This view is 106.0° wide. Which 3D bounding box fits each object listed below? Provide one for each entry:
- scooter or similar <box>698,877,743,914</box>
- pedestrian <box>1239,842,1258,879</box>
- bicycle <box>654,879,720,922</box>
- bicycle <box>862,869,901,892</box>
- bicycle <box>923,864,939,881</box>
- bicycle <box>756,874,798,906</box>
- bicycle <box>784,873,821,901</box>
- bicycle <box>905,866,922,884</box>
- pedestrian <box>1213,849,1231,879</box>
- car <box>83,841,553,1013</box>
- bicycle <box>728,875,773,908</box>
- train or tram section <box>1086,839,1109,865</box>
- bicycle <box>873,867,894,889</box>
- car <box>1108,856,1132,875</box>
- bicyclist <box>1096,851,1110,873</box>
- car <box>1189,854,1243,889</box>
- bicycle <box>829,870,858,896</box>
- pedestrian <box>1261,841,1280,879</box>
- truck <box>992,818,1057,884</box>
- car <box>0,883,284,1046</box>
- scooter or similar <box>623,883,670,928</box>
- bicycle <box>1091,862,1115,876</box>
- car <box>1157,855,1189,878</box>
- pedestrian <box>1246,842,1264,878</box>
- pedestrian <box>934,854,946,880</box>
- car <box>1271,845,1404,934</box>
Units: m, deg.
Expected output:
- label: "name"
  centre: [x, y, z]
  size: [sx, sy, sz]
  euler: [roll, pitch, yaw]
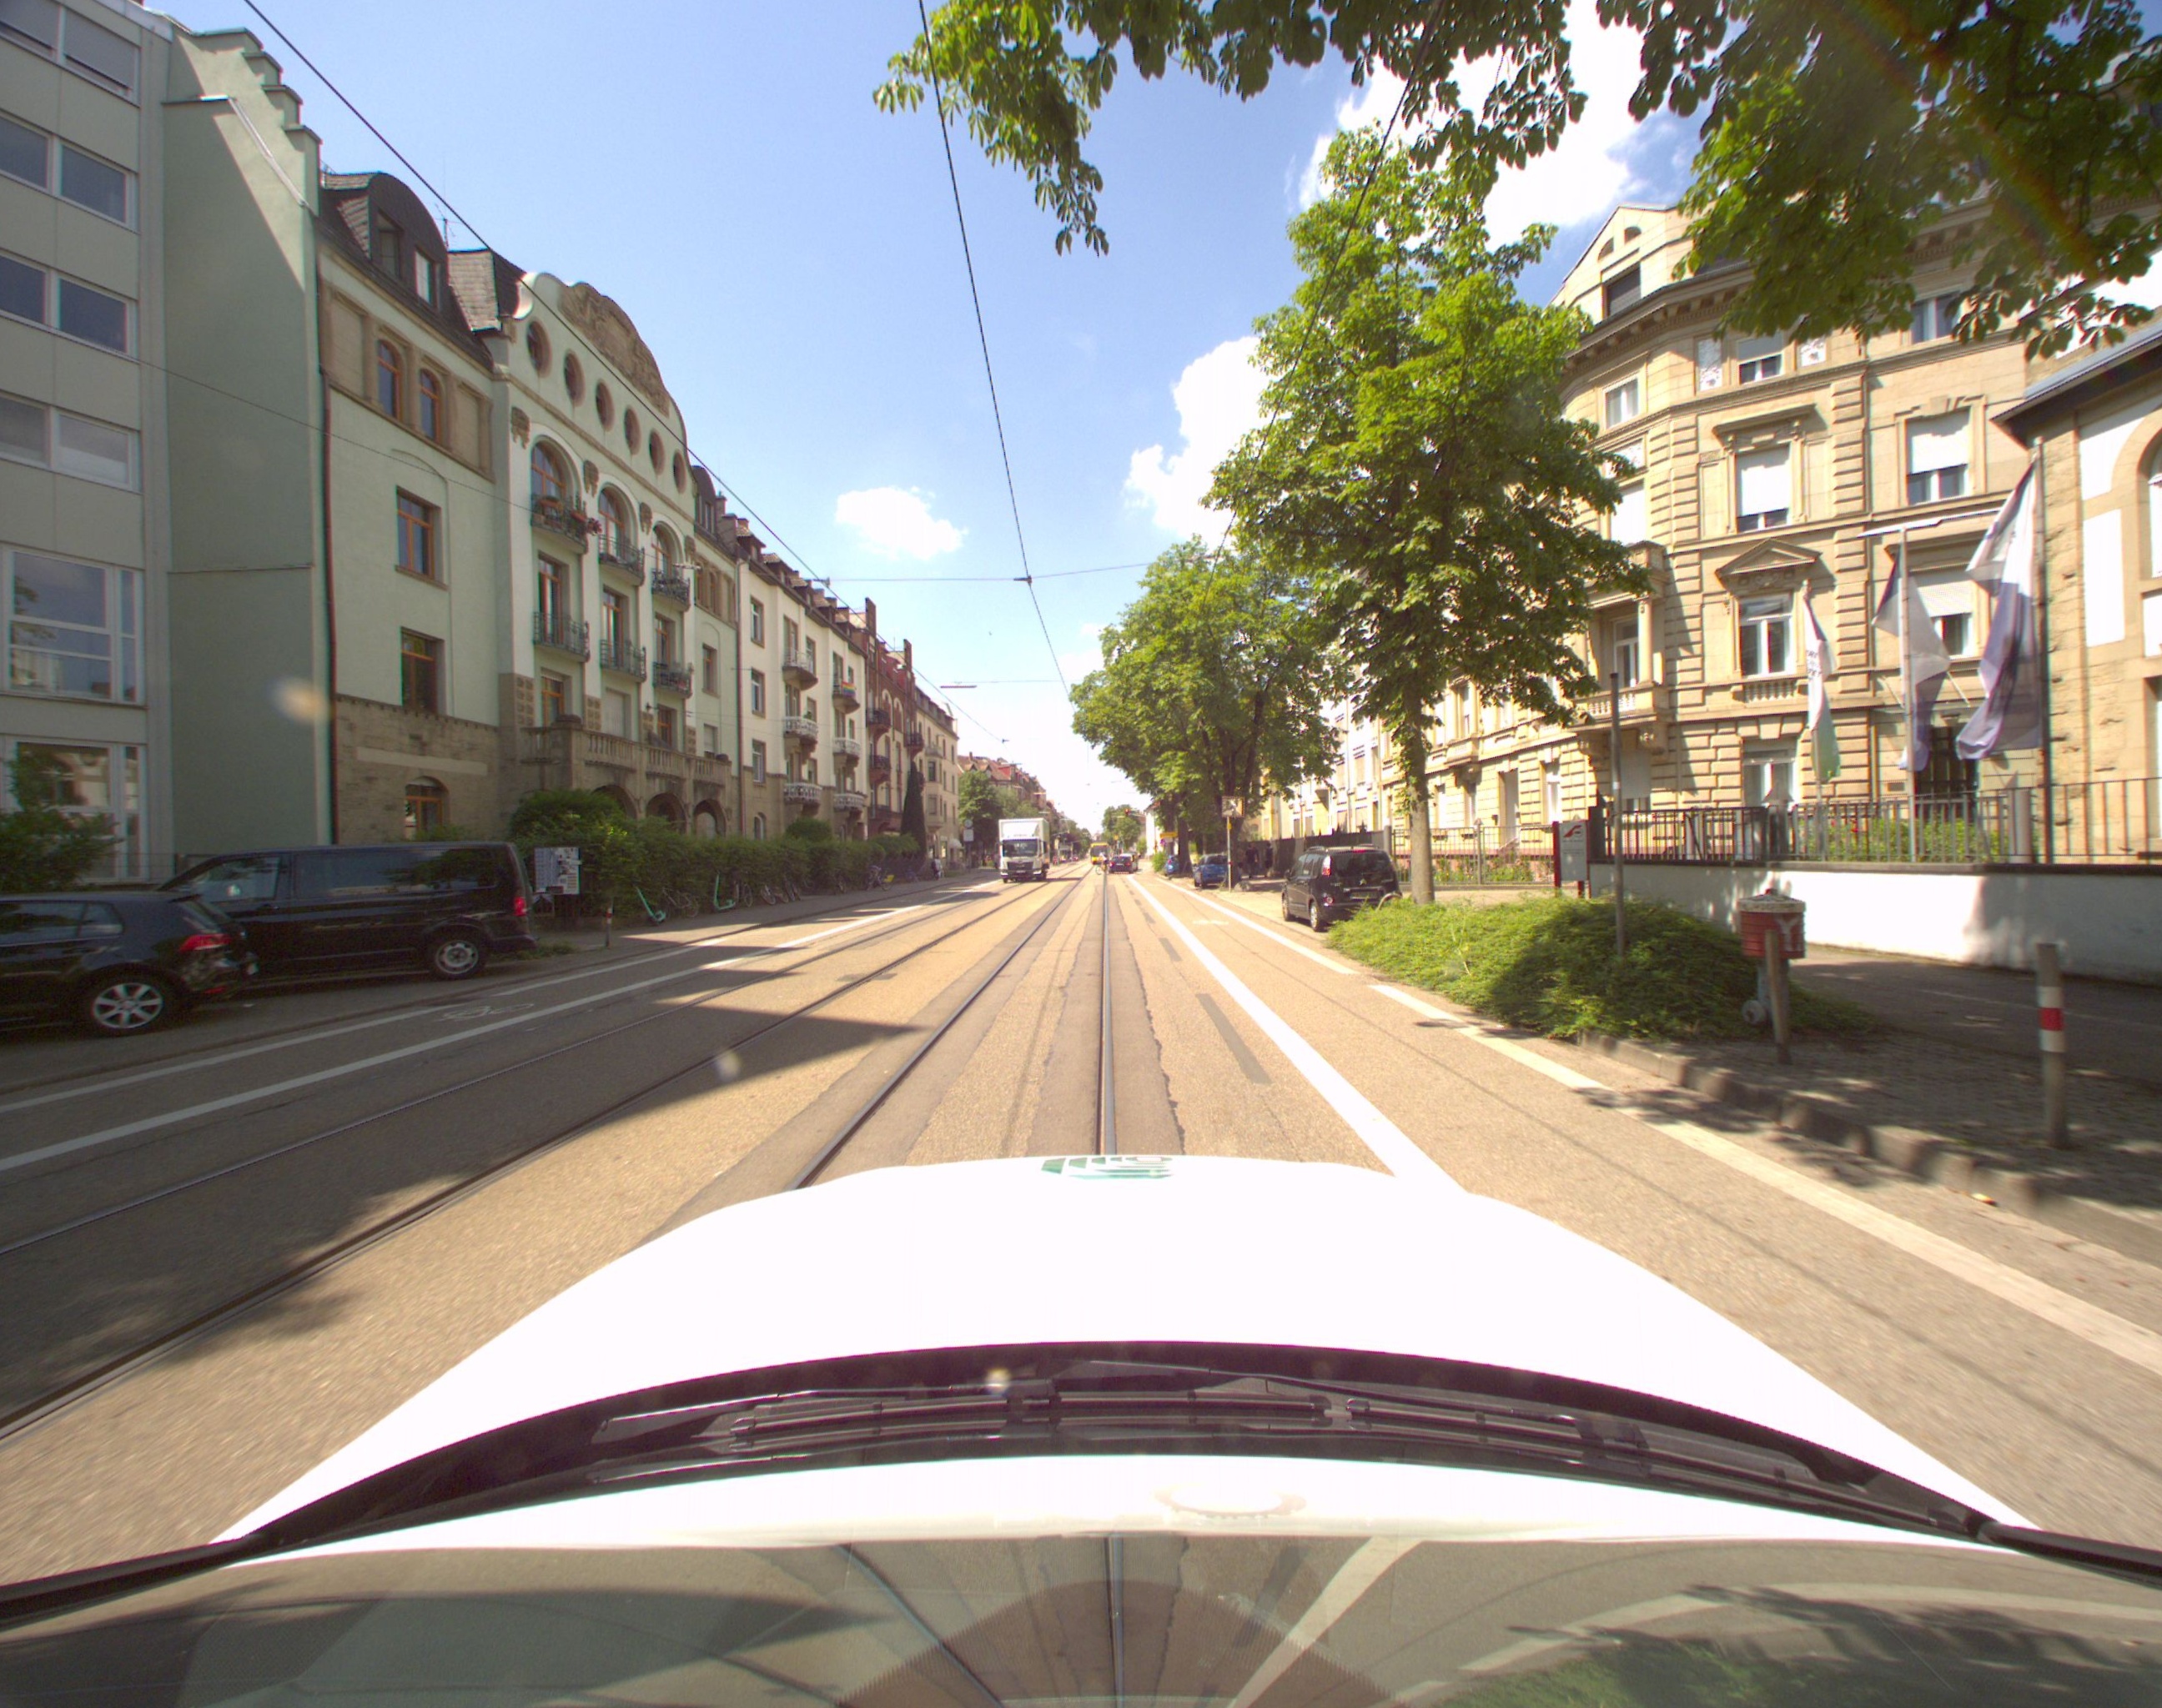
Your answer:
- label: "scooter or similar"
  centre: [-10.135, 1.149, 22.947]
  size: [0.541, 0.969, 1.500]
  euler: [0, 0, 2]
- label: "pedestrian"
  centre: [8.511, 0.319, 41.434]
  size: [0.806, 1.860, 0.576]
  euler: [-1, -2, -1]
- label: "bicycle"
  centre: [-10.122, 1.176, 21.023]
  size: [0.541, 0.969, 2.250]
  euler: [0, 0, 2]
- label: "bicycle"
  centre: [-8.831, 1.175, 36.146]
  size: [0.538, 0.969, 1.792]
  euler: [-1, -2, 31]
- label: "bicycle"
  centre: [-9.249, 1.149, 50.239]
  size: [0.541, 0.969, 1.782]
  euler: [0, 1, 2]
- label: "bicycle"
  centre: [-9.906, 1.152, 26.602]
  size: [0.541, 0.969, 1.991]
  euler: [0, -1, 2]
- label: "bicycle"
  centre: [-9.803, 1.152, 28.719]
  size: [0.541, 0.969, 1.990]
  euler: [0, -2, 2]
- label: "bicycle"
  centre: [-9.412, 1.152, 45.827]
  size: [0.541, 0.969, 1.782]
  euler: [0, 0, 2]
- label: "pedestrian"
  centre: [7.357, 0.502, 42.416]
  size: [0.802, 1.530, 0.626]
  euler: [-2, -2, 19]
- label: "car"
  centre: [-10.118, 0.843, 11.356]
  size: [4.508, 1.940, 1.685]
  euler: [-1, -1, -37]
- label: "bicycle"
  centre: [-9.992, 1.121, 24.647]
  size: [0.541, 0.969, 1.823]
  euler: [0, -2, 2]
- label: "train or tram section"
  centre: [2.505, -0.274, 118.881]
  size: [3.023, 3.438, 11.976]
  euler: [-1, 0, 2]
- label: "bicycle"
  centre: [-9.463, 1.124, 39.069]
  size: [0.541, 0.969, 1.782]
  euler: [0, 0, 2]
- label: "car"
  centre: [2.945, 0.850, 62.426]
  size: [1.774, 1.345, 3.417]
  euler: [-1, 0, 2]
- label: "bicyclist"
  centre: [1.573, 0.597, 58.773]
  size: [0.854, 1.616, 0.628]
  euler: [-2, -3, 45]
- label: "car"
  centre: [5.975, 0.764, 36.486]
  size: [1.705, 1.423, 4.310]
  euler: [-2, -1, 1]
- label: "bicycle"
  centre: [-9.703, 1.159, 33.339]
  size: [0.541, 0.969, 1.991]
  euler: [0, 1, 2]
- label: "pedestrian"
  centre: [9.469, 0.314, 40.719]
  size: [0.806, 1.860, 0.623]
  euler: [-1, -2, -1]
- label: "truck"
  centre: [-3.225, -0.197, 48.648]
  size: [2.928, 3.550, 8.456]
  euler: [-1, 0, 2]
- label: "car"
  centre: [-10.757, 1.092, 8.135]
  size: [3.830, 1.456, 1.615]
  euler: [-1, -1, -39]
- label: "scooter or similar"
  centre: [-10.136, 1.190, 19.024]
  size: [0.541, 0.969, 0.958]
  euler: [0, 0, 2]
- label: "bicycle"
  centre: [1.579, 1.069, 58.743]
  size: [1.759, 0.969, 0.644]
  euler: [-1, -2, 45]
- label: "car"
  centre: [6.123, 0.846, 54.567]
  size: [1.705, 1.423, 4.310]
  euler: [-2, -1, 1]
- label: "pedestrian"
  centre: [9.131, 0.303, 42.755]
  size: [0.806, 1.860, 0.623]
  euler: [-1, -2, -1]
- label: "pedestrian"
  centre: [-8.687, 0.784, 50.224]
  size: [0.570, 1.615, 0.817]
  euler: [-1, 0, 2]
- label: "car"
  centre: [5.254, 0.683, 17.179]
  size: [1.586, 1.616, 3.908]
  euler: [-2, -1, 1]
